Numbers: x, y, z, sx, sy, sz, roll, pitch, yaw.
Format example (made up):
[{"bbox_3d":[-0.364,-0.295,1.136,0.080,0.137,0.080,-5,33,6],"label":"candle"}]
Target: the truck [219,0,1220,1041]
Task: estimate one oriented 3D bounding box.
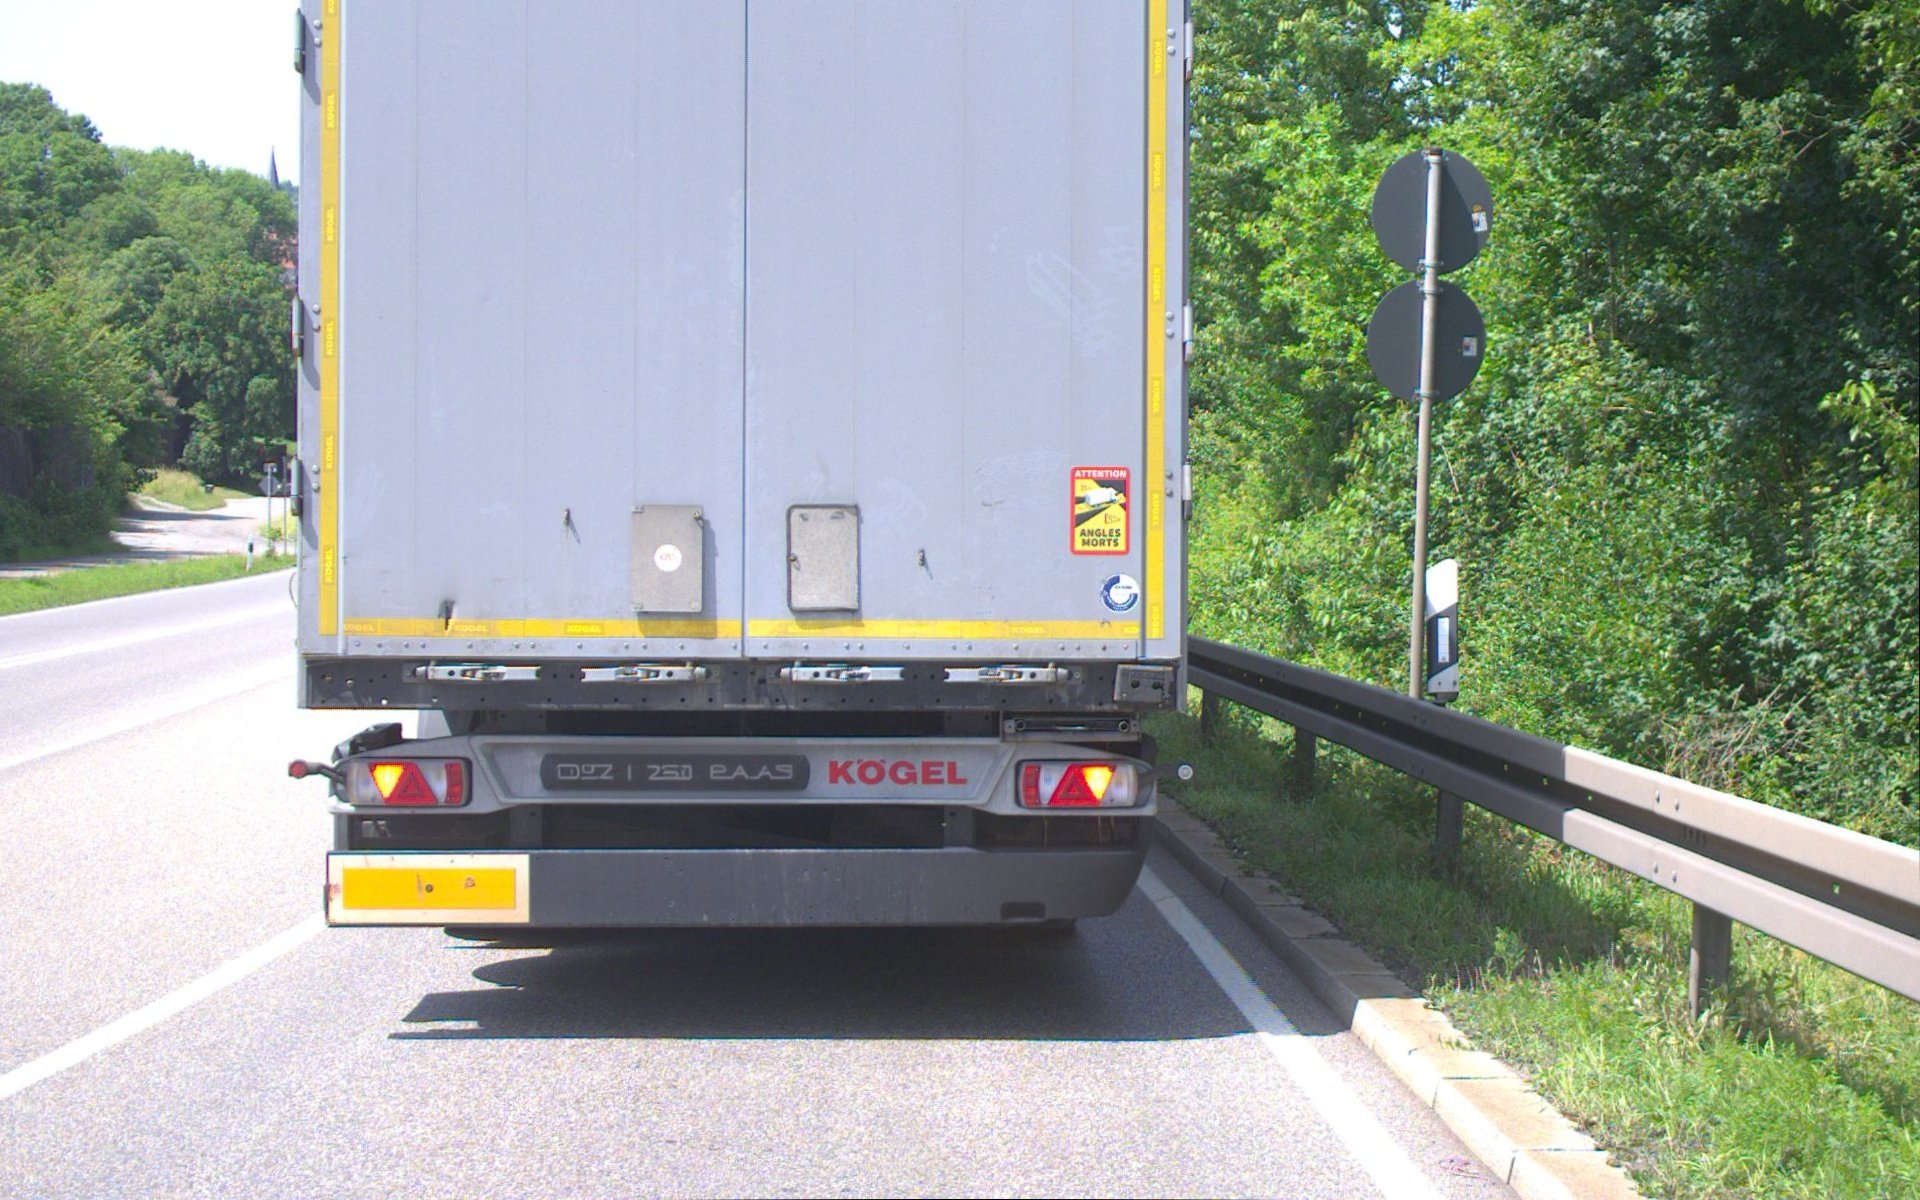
[{"bbox_3d":[-0.816,-0.928,15.495,2.757,4.016,11.925,0,1,-1],"label":"truck"}]
